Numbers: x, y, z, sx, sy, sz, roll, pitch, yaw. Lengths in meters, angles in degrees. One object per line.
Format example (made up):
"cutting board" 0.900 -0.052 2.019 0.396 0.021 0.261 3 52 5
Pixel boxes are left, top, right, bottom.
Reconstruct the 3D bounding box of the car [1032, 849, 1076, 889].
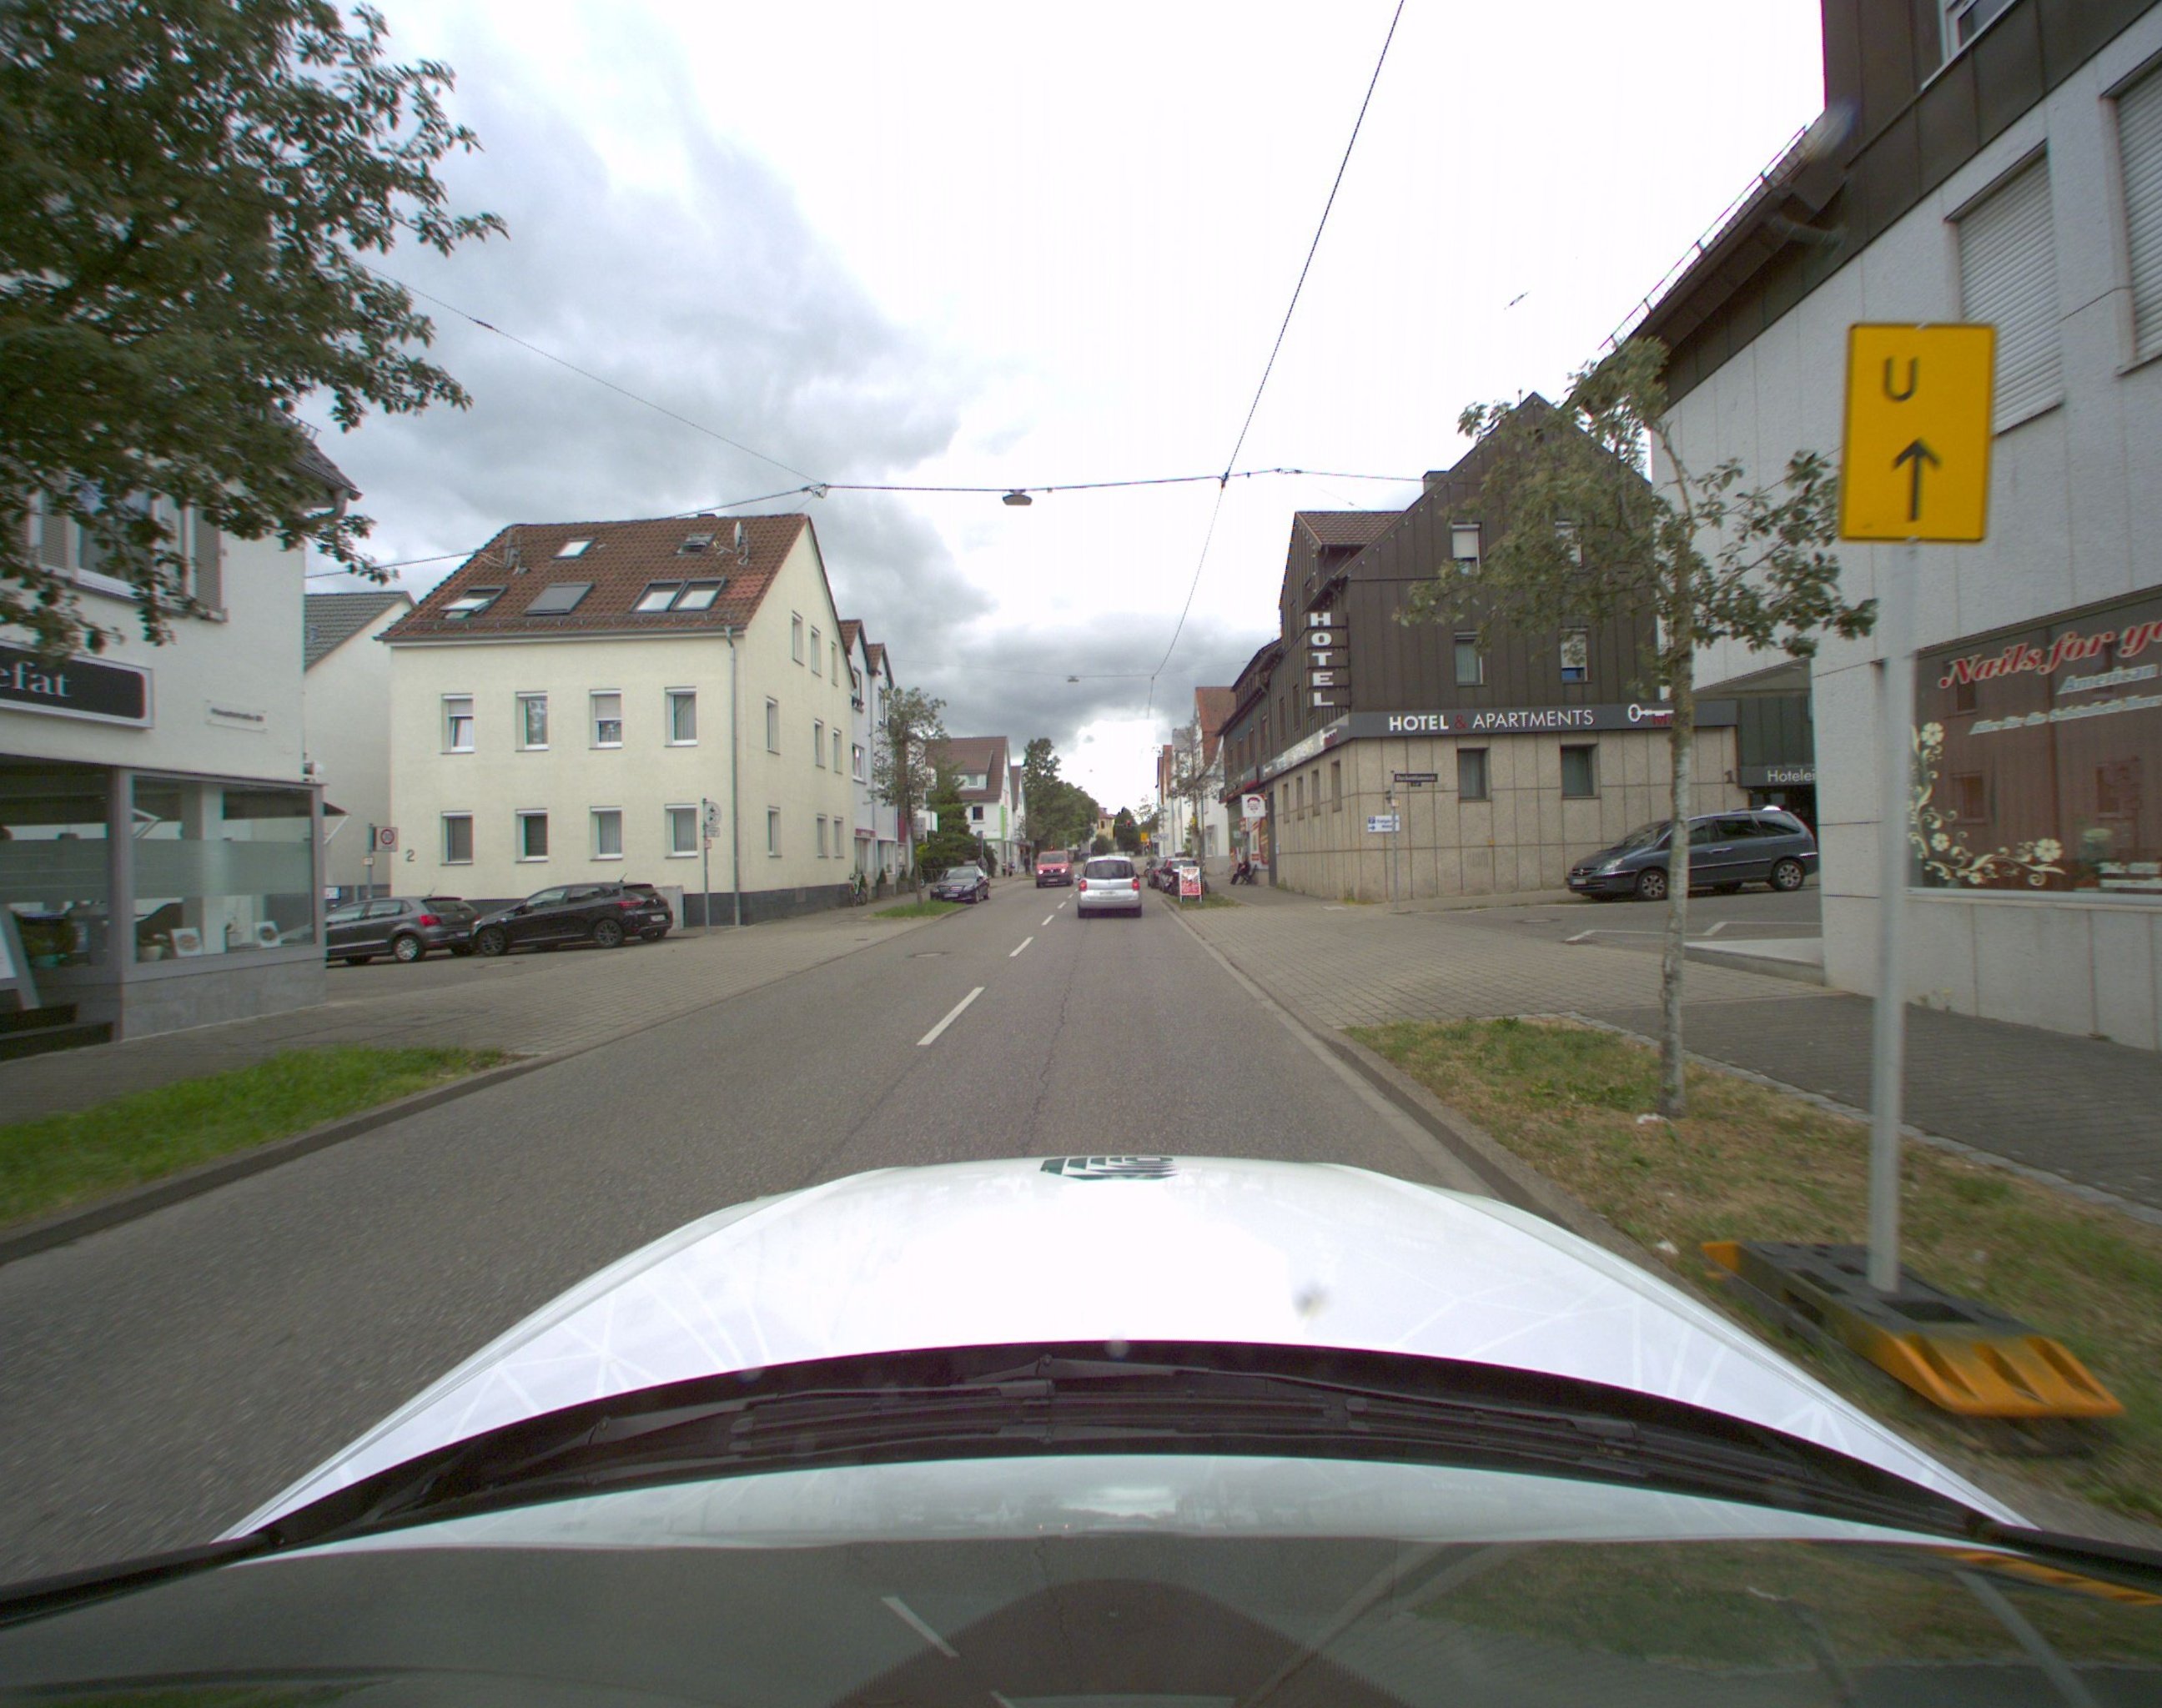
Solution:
"car" -1.440 0.808 45.409 1.941 1.962 5.225 -4 -1 2

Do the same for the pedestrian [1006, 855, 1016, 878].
"pedestrian" -5.676 1.028 66.104 0.759 1.876 0.696 -1 -1 1

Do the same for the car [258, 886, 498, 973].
"car" -15.350 1.618 17.942 3.691 1.486 1.669 -5 -1 -1

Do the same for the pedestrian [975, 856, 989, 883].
"pedestrian" -6.779 1.047 55.803 0.760 1.791 0.890 -1 -1 1

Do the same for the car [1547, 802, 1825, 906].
"car" 12.821 0.006 17.467 4.467 1.866 1.929 -3 -1 -1

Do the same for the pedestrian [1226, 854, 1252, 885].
"pedestrian" 7.032 0.689 36.286 0.884 1.300 0.967 -5 -1 2

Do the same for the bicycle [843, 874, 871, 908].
"bicycle" -7.863 1.277 28.635 0.513 1.153 1.665 -1 -1 -1

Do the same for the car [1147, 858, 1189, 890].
"car" 4.154 0.925 39.420 1.694 1.467 4.240 -1 -1 1

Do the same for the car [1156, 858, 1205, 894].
"car" 4.179 0.884 34.604 1.694 1.430 3.891 -1 -1 1

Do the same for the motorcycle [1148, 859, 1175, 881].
"motorcycle" 4.964 0.954 50.177 0.691 1.336 2.732 -1 -1 26

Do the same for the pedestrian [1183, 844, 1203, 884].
"pedestrian" 5.416 0.472 39.555 0.853 1.928 0.900 -1 -1 2

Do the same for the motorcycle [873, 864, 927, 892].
"motorcycle" -9.500 1.257 42.856 2.705 1.409 0.698 0 -1 -8

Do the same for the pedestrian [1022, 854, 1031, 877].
"pedestrian" -4.582 0.954 68.437 0.713 1.876 0.696 -1 -1 1

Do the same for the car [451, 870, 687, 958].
"car" -11.112 1.263 17.861 3.973 1.534 1.735 -4 -1 1

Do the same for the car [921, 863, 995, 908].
"car" -4.700 1.167 31.783 1.941 1.467 4.518 -4 -1 2

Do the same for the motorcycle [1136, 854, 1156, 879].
"motorcycle" 4.346 0.853 54.537 0.698 1.639 2.399 0 -1 -11

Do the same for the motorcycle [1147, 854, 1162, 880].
"motorcycle" 4.695 0.822 51.776 0.693 1.639 2.417 -1 -1 12

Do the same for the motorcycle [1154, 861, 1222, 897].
"motorcycle" 4.136 0.948 31.454 2.723 1.336 0.693 0 -1 -29

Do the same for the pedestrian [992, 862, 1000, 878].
"pedestrian" -6.831 1.270 65.488 0.490 1.278 0.588 -1 -1 2

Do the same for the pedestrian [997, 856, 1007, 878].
"pedestrian" -6.492 1.076 66.595 0.713 1.756 0.696 -1 -1 1

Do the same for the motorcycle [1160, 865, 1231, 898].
"motorcycle" 4.275 1.012 30.403 2.744 1.183 0.693 0 -1 -29

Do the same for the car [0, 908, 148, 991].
"car" -23.591 2.169 18.124 3.688 1.577 1.671 -4 -1 1

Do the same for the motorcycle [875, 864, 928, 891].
"motorcycle" -9.625 1.266 43.642 2.705 1.409 0.698 0 -1 -8

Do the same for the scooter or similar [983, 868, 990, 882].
"scooter or similar" -7.083 1.598 60.935 0.372 1.034 0.560 -2 -1 2

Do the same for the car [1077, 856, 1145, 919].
"car" 0.835 0.848 22.281 1.675 1.566 3.996 0 -1 3
